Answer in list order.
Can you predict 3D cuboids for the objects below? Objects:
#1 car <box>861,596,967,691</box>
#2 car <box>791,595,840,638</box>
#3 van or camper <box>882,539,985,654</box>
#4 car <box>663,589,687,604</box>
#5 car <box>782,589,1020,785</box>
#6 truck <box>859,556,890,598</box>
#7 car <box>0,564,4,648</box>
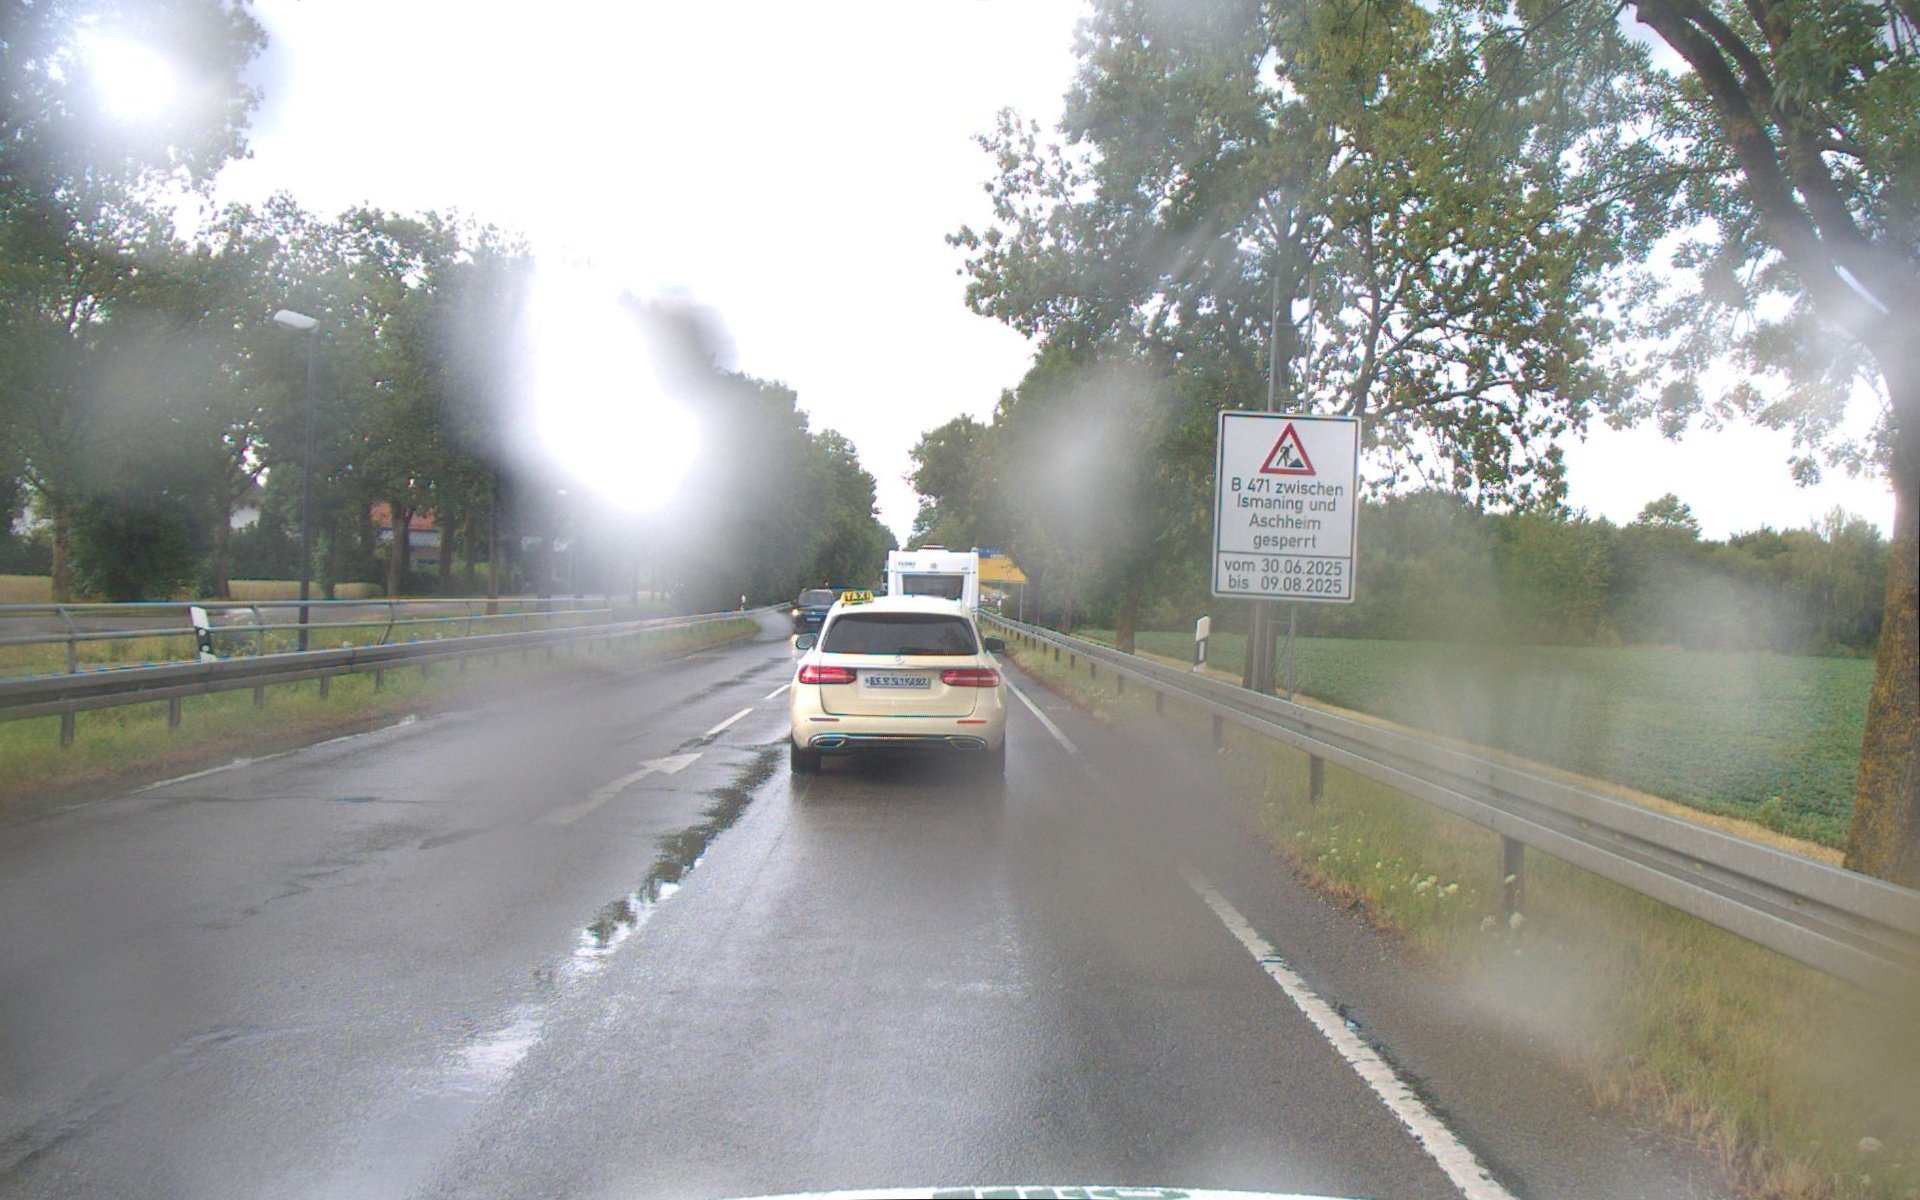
[{"bbox_3d":[-0.711,0.669,27.707,1.630,1.456,4.000,0,0,0],"label":"car"},{"bbox_3d":[-5.748,0.624,66.186,1.728,1.647,3.999,0,0,-2],"label":"car"},{"bbox_3d":[-0.645,-0.096,43.065,2.438,2.732,5.700,1,0,0],"label":"van or camper"},{"bbox_3d":[-29.373,-0.395,170.493,1.749,1.440,4.000,2,0,0],"label":"car"},{"bbox_3d":[-0.456,0.663,14.806,1.826,1.502,4.000,0,0,0],"label":"car"},{"bbox_3d":[-7.403,-1.990,144.411,2.524,3.512,9.552,0,0,-2],"label":"truck"},{"bbox_3d":[-15.789,0.095,24.489,1.258,1.354,3.894,2,0,-5],"label":"car"}]
